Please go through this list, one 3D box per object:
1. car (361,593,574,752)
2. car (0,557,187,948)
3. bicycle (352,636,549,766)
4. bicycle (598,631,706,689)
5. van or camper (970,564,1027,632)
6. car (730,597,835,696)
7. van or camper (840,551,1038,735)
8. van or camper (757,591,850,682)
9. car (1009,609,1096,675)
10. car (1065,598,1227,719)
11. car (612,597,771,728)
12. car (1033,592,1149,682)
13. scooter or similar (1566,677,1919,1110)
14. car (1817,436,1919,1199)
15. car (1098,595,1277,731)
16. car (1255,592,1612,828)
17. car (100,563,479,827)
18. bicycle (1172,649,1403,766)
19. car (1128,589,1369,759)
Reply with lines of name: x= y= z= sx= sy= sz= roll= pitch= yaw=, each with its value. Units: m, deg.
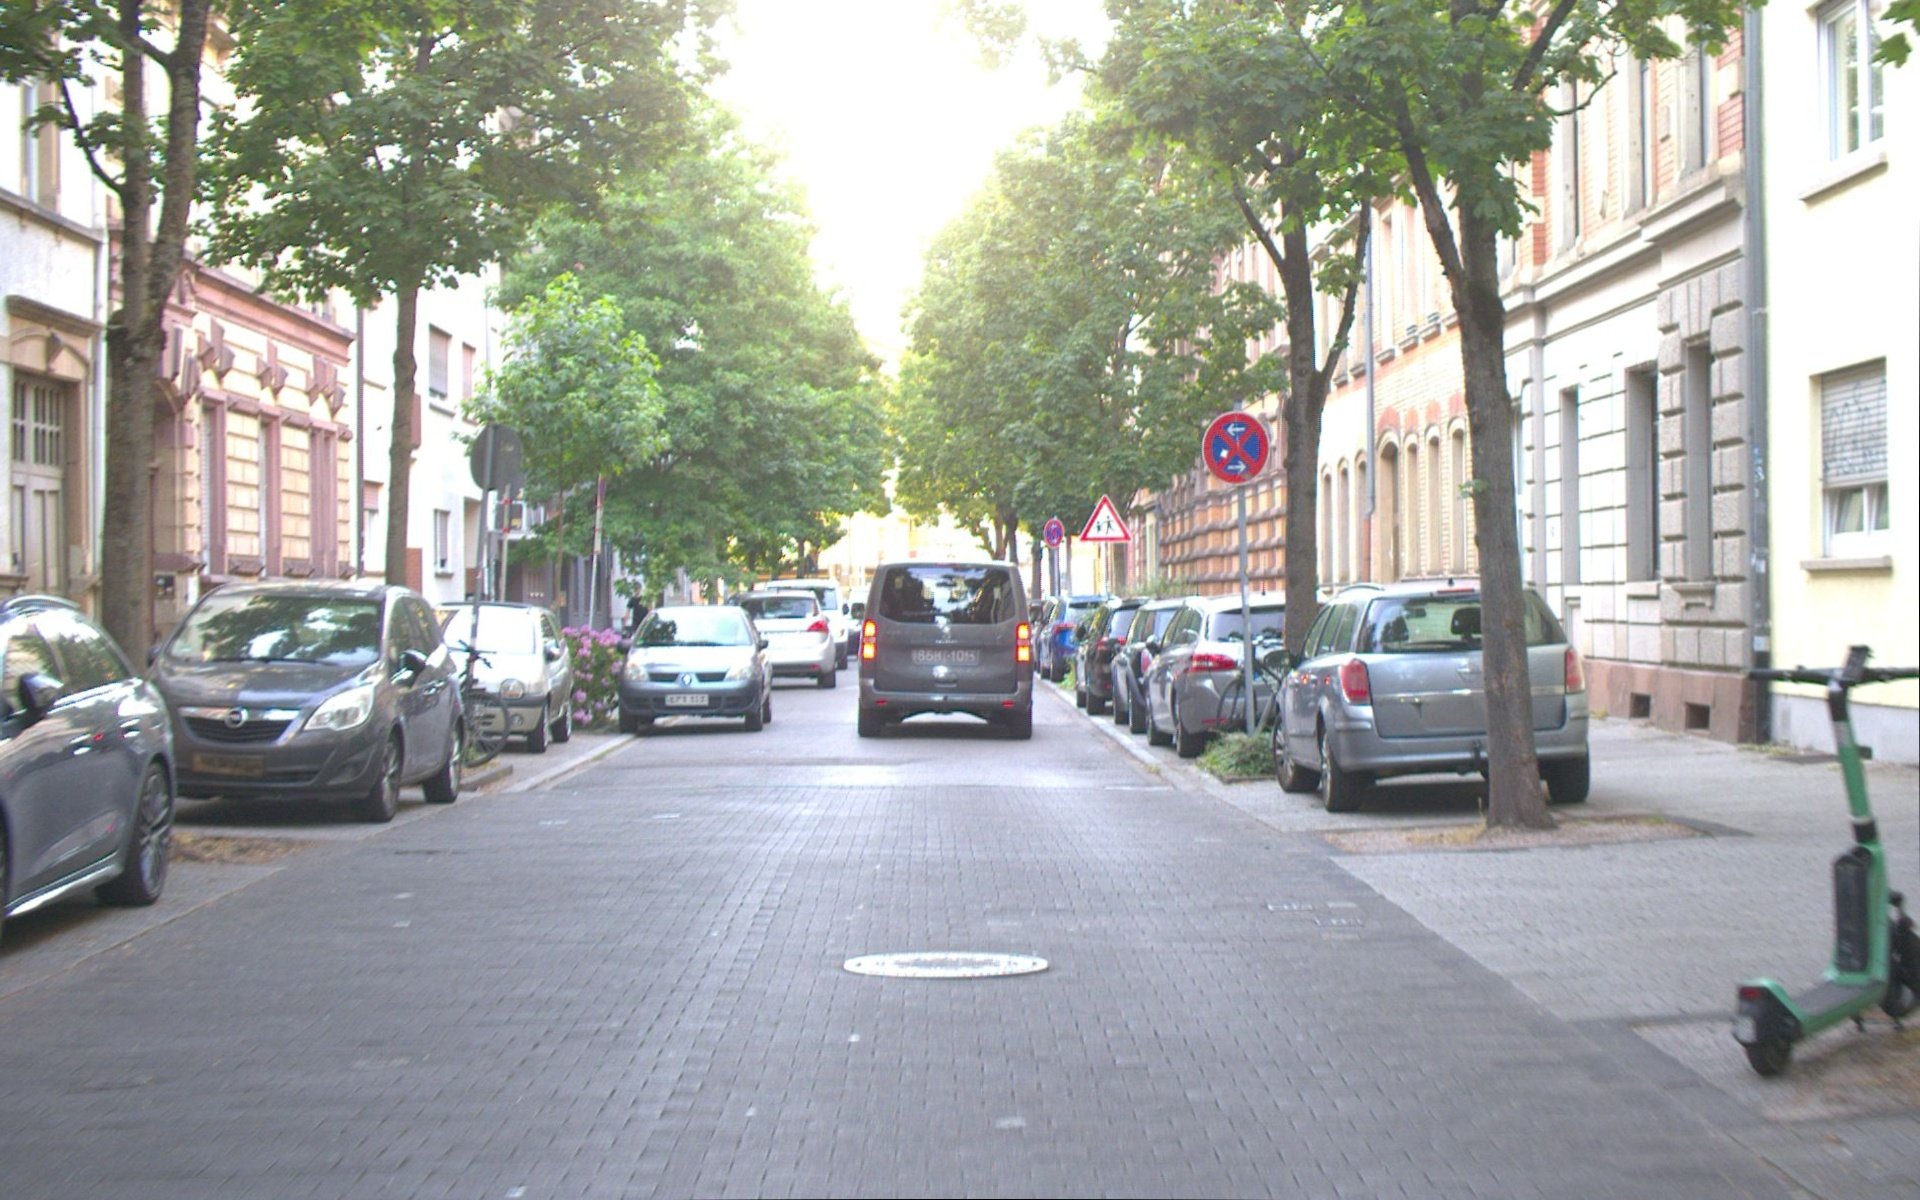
car: x=-4.793 y=0.685 z=33.848 sx=1.587 sy=1.432 sz=3.566 roll=2 pitch=0 yaw=-1
car: x=-4.609 y=0.566 z=14.143 sx=1.806 sy=1.513 sz=4.685 roll=2 pitch=0 yaw=-1
bicycle: x=-4.443 y=0.871 z=29.903 sx=1.826 sy=1.081 sz=0.667 roll=0 pitch=-2 yaw=42
bicycle: x=-4.942 y=0.964 z=55.225 sx=1.699 sy=0.904 sz=0.383 roll=1 pitch=-1 yaw=-30
van or camper: x=1.494 y=-0.073 z=134.945 sx=1.993 sy=2.590 sz=5.424 roll=1 pitch=0 yaw=-2
car: x=-2.959 y=0.747 z=56.764 sx=1.663 sy=1.558 sz=4.000 roll=0 pitch=0 yaw=-4
van or camper: x=-0.170 y=0.454 z=37.820 sx=2.035 sy=1.891 sz=4.270 roll=1 pitch=0 yaw=1
van or camper: x=-3.267 y=0.738 z=72.026 sx=1.876 sy=1.836 sz=4.753 roll=0 pitch=0 yaw=-2
car: x=2.012 y=0.901 z=75.679 sx=1.693 sy=1.396 sz=4.646 roll=-1 pitch=0 yaw=-1
car: x=2.320 y=0.716 z=43.778 sx=1.766 sy=1.410 sz=4.473 roll=-2 pitch=0 yaw=0
car: x=-3.022 y=0.686 z=39.239 sx=1.580 sy=1.415 sz=3.753 roll=0 pitch=0 yaw=-1
car: x=2.196 y=0.616 z=58.566 sx=1.627 sy=1.461 sz=4.246 roll=0 pitch=0 yaw=-2
scooter or similar: x=2.416 y=0.846 z=10.325 sx=0.675 sy=1.186 sz=1.113 roll=-3 pitch=-1 yaw=39
car: x=3.182 y=0.514 z=6.099 sx=2.013 sy=1.827 sz=4.811 roll=-2 pitch=0 yaw=-1
car: x=2.486 y=0.671 z=38.324 sx=1.635 sy=1.419 sz=3.565 roll=-1 pitch=0 yaw=-2
car: x=3.129 y=0.681 z=23.536 sx=1.758 sy=1.458 sz=4.308 roll=0 pitch=0 yaw=-1
car: x=-4.416 y=0.575 z=23.223 sx=1.706 sy=1.575 sz=4.078 roll=2 pitch=0 yaw=0
bicycle: x=2.844 y=0.920 z=29.815 sx=1.915 sy=0.978 sz=0.638 roll=0 pitch=0 yaw=-22
car: x=2.670 y=0.656 z=32.715 sx=1.716 sy=1.471 sz=4.368 roll=-1 pitch=0 yaw=-2
